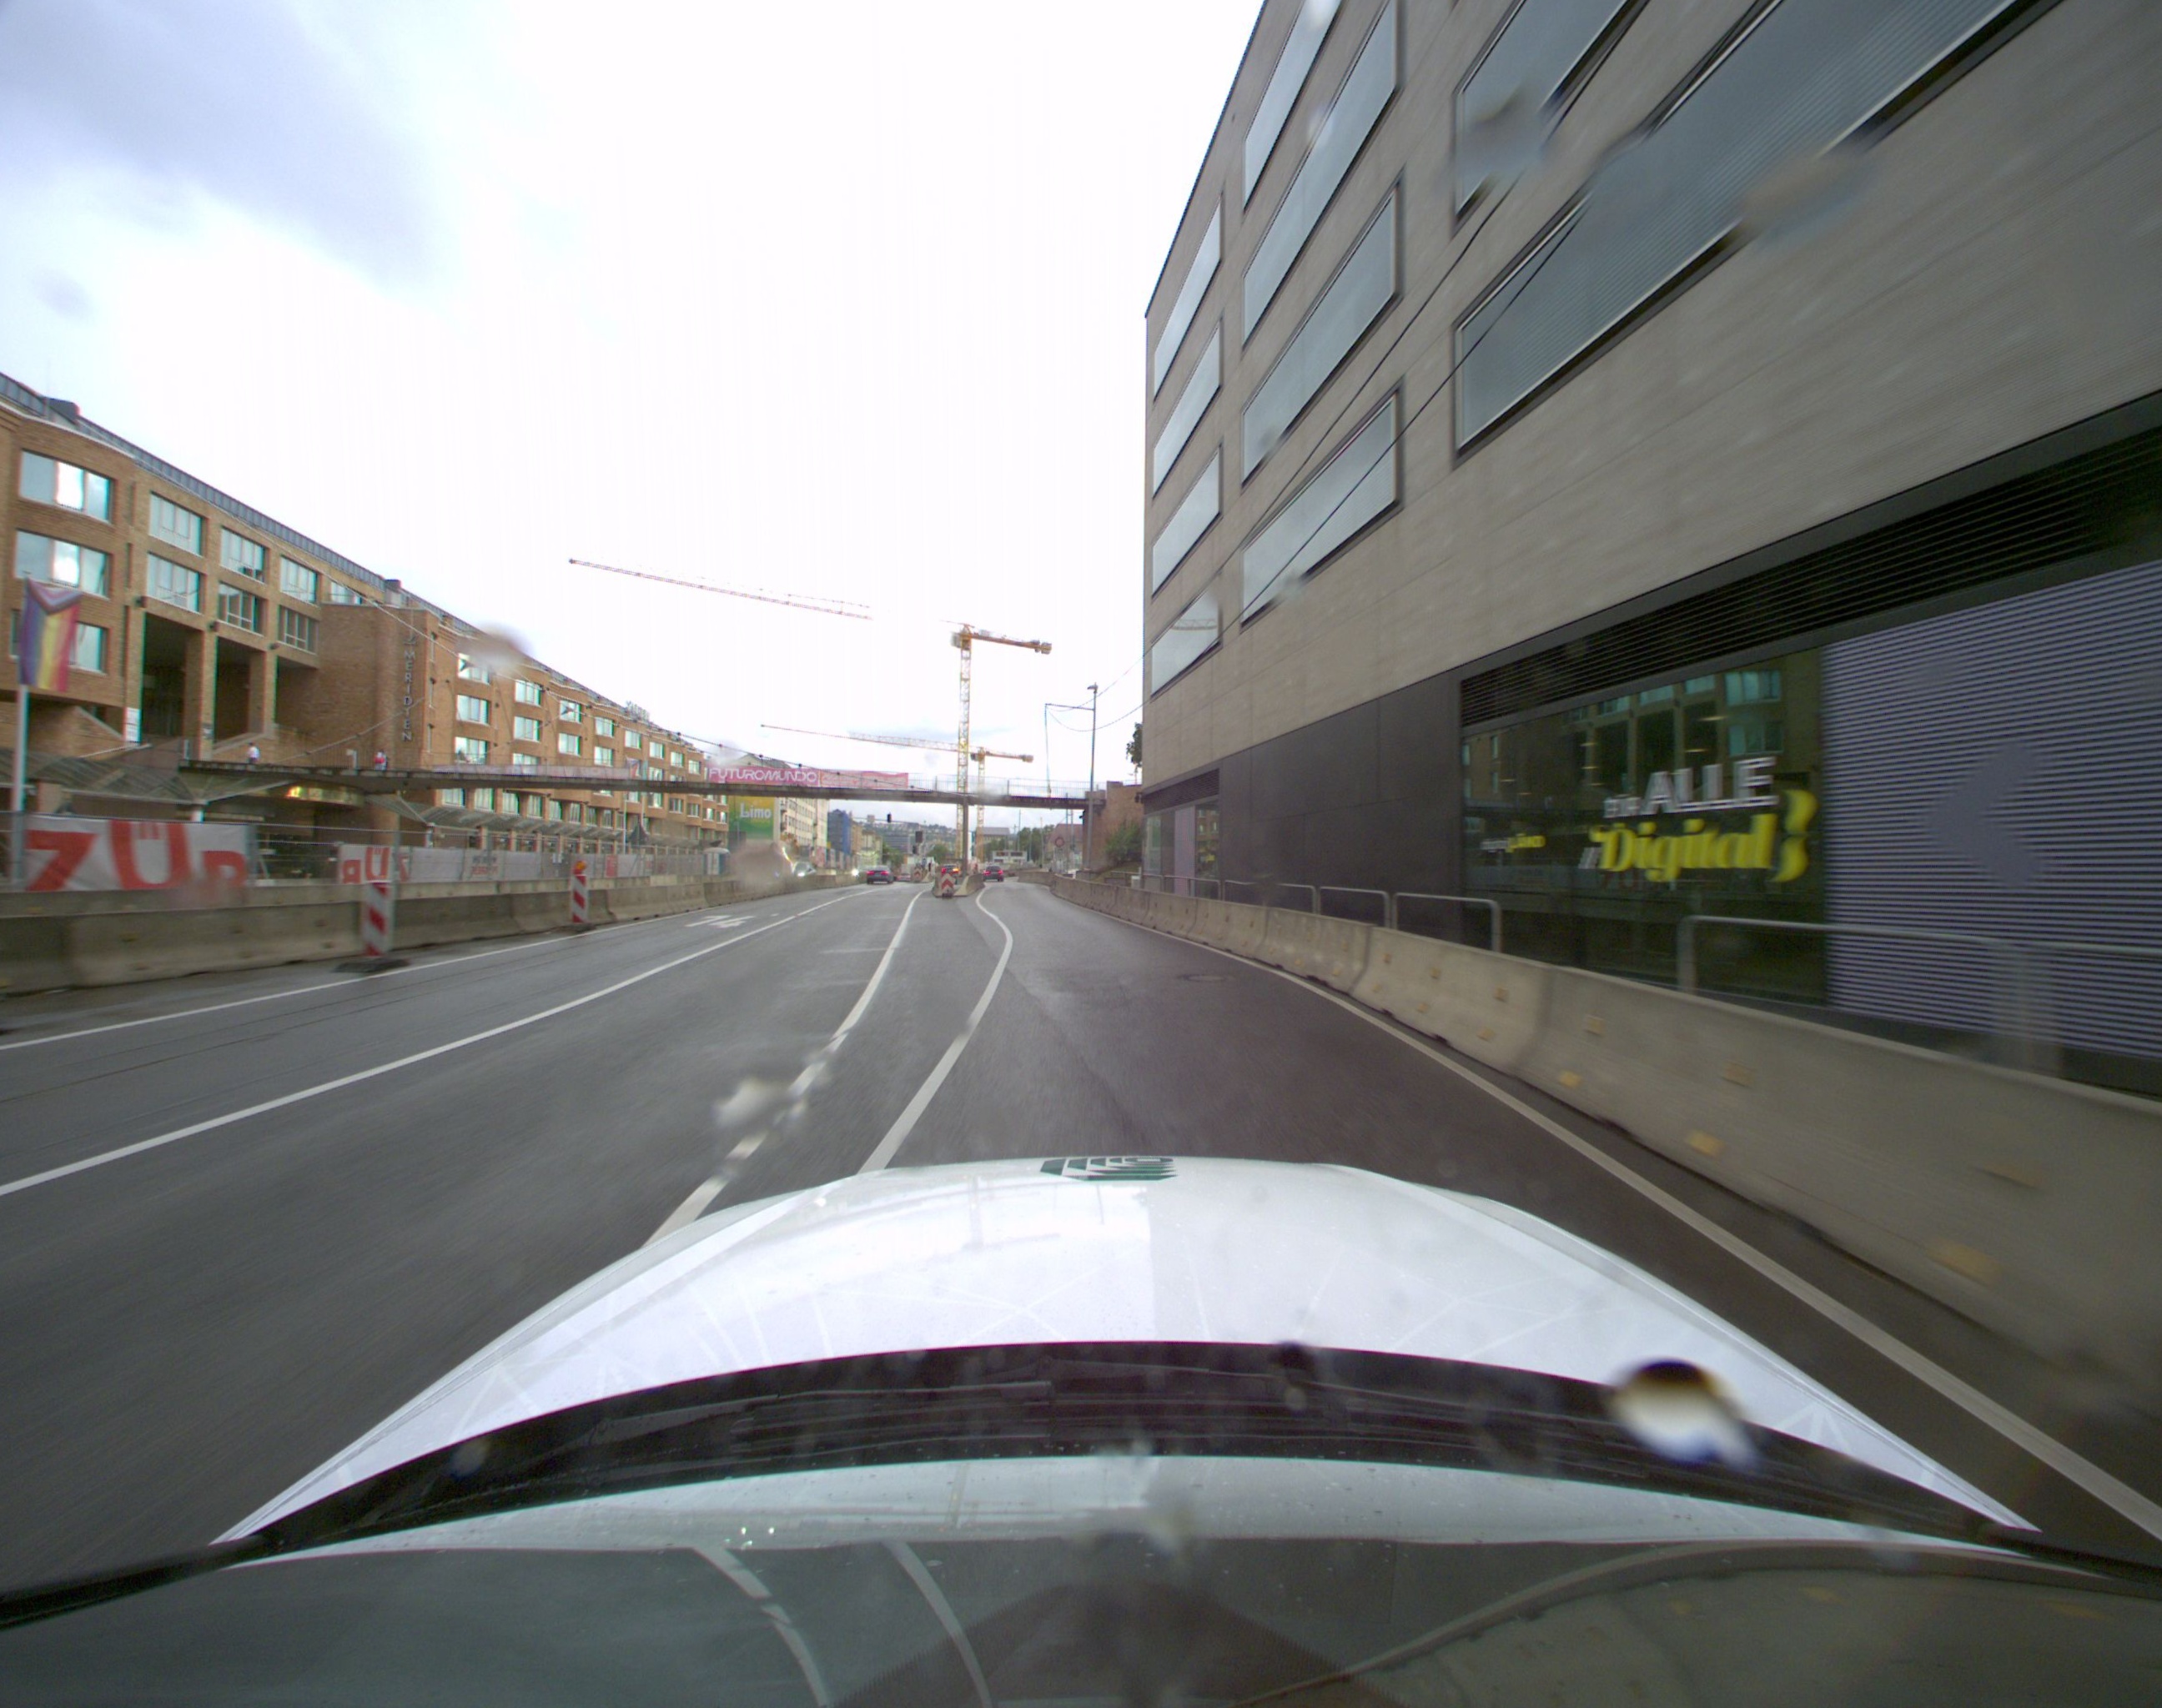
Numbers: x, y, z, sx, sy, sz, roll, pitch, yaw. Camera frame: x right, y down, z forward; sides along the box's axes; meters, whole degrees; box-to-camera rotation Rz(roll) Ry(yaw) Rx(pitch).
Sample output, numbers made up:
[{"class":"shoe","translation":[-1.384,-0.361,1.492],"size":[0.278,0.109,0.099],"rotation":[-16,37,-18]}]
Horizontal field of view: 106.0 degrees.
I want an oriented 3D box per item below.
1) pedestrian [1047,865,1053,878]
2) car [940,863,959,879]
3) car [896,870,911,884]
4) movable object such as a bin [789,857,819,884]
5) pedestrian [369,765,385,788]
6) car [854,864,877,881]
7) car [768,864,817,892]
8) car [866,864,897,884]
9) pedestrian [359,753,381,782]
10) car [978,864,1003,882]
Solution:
[{"class":"pedestrian","translation":[-4.384,2.493,114.282],"size":[0.689,1.778,1.019],"rotation":[0,-2,-9]},{"class":"car","translation":[-14.318,1.849,88.935],"size":[1.862,1.661,4.643],"rotation":[1,-1,-8]},{"class":"car","translation":[-23.476,2.995,107.775],"size":[1.864,1.765,4.638],"rotation":[1,-1,-11]},{"class":"movable object such as a bin","translation":[-25.529,1.511,75.229],"size":[2.028,2.277,4.274],"rotation":[-3,0,-13]},{"class":"pedestrian","translation":[-38.430,-4.229,44.449],"size":[0.474,1.194,0.483],"rotation":[0,-1,-7]},{"class":"car","translation":[-22.365,1.929,84.485],"size":[1.804,1.623,3.893],"rotation":[0,1,-7]},{"class":"car","translation":[-17.933,1.474,50.907],"size":[1.992,1.623,4.688],"rotation":[0,0,-8]},{"class":"car","translation":[-15.674,1.559,64.144],"size":[1.861,1.443,4.644],"rotation":[1,-1,-8]},{"class":"pedestrian","translation":[-38.155,-4.633,43.693],"size":[0.620,1.452,0.617],"rotation":[0,-1,-7]},{"class":"car","translation":[-7.929,1.624,71.191],"size":[1.863,1.433,4.639],"rotation":[1,-1,-11]}]
